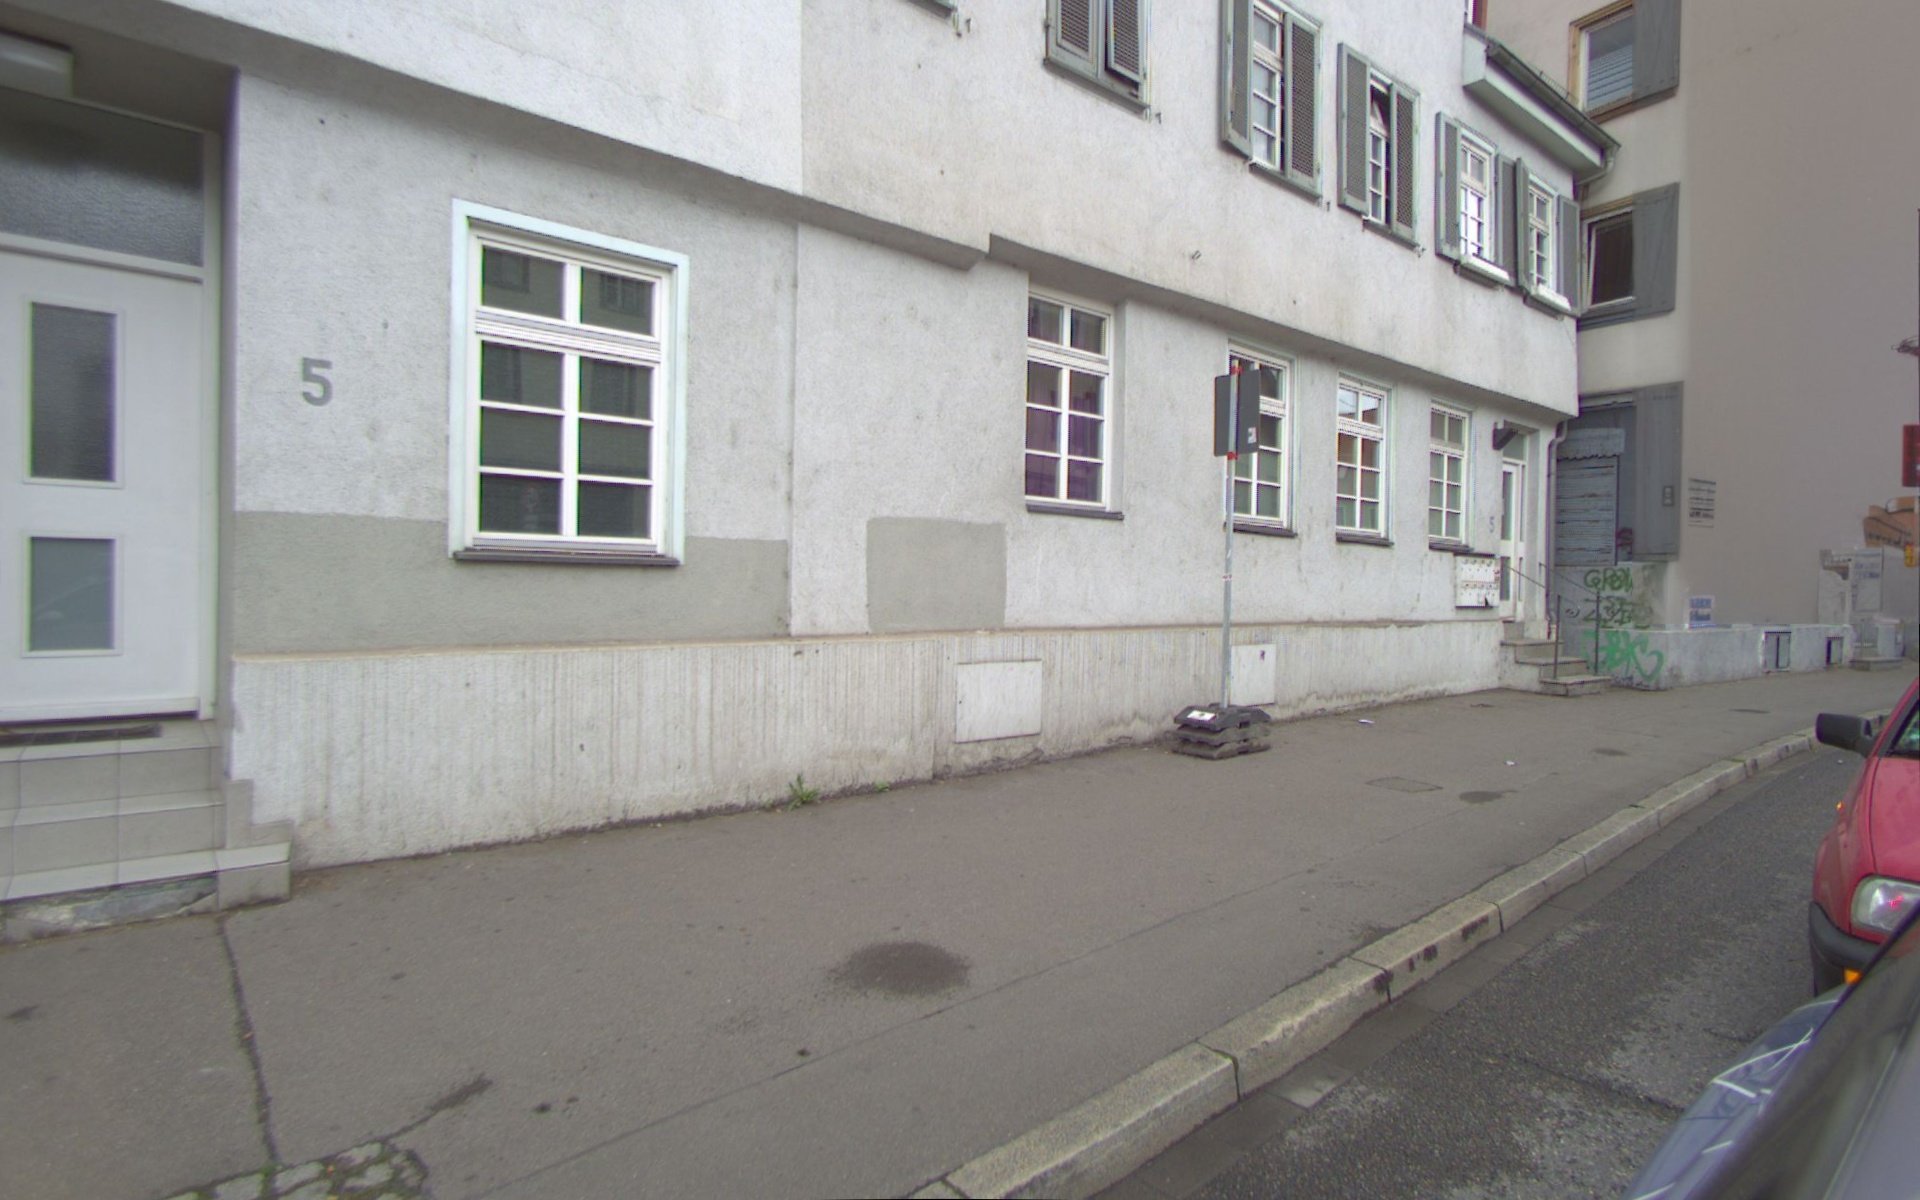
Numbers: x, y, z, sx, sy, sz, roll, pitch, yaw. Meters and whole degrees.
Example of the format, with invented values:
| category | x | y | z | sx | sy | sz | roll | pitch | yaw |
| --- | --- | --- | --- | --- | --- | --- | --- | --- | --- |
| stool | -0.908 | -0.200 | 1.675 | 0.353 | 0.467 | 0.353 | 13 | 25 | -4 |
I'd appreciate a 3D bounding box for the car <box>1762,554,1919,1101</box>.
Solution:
| category | x | y | z | sx | sy | sz | roll | pitch | yaw |
| --- | --- | --- | --- | --- | --- | --- | --- | --- | --- |
| car | 4.395 | 0.606 | 3.496 | 3.928 | 1.443 | 1.792 | 0 | 1 | -40 |
